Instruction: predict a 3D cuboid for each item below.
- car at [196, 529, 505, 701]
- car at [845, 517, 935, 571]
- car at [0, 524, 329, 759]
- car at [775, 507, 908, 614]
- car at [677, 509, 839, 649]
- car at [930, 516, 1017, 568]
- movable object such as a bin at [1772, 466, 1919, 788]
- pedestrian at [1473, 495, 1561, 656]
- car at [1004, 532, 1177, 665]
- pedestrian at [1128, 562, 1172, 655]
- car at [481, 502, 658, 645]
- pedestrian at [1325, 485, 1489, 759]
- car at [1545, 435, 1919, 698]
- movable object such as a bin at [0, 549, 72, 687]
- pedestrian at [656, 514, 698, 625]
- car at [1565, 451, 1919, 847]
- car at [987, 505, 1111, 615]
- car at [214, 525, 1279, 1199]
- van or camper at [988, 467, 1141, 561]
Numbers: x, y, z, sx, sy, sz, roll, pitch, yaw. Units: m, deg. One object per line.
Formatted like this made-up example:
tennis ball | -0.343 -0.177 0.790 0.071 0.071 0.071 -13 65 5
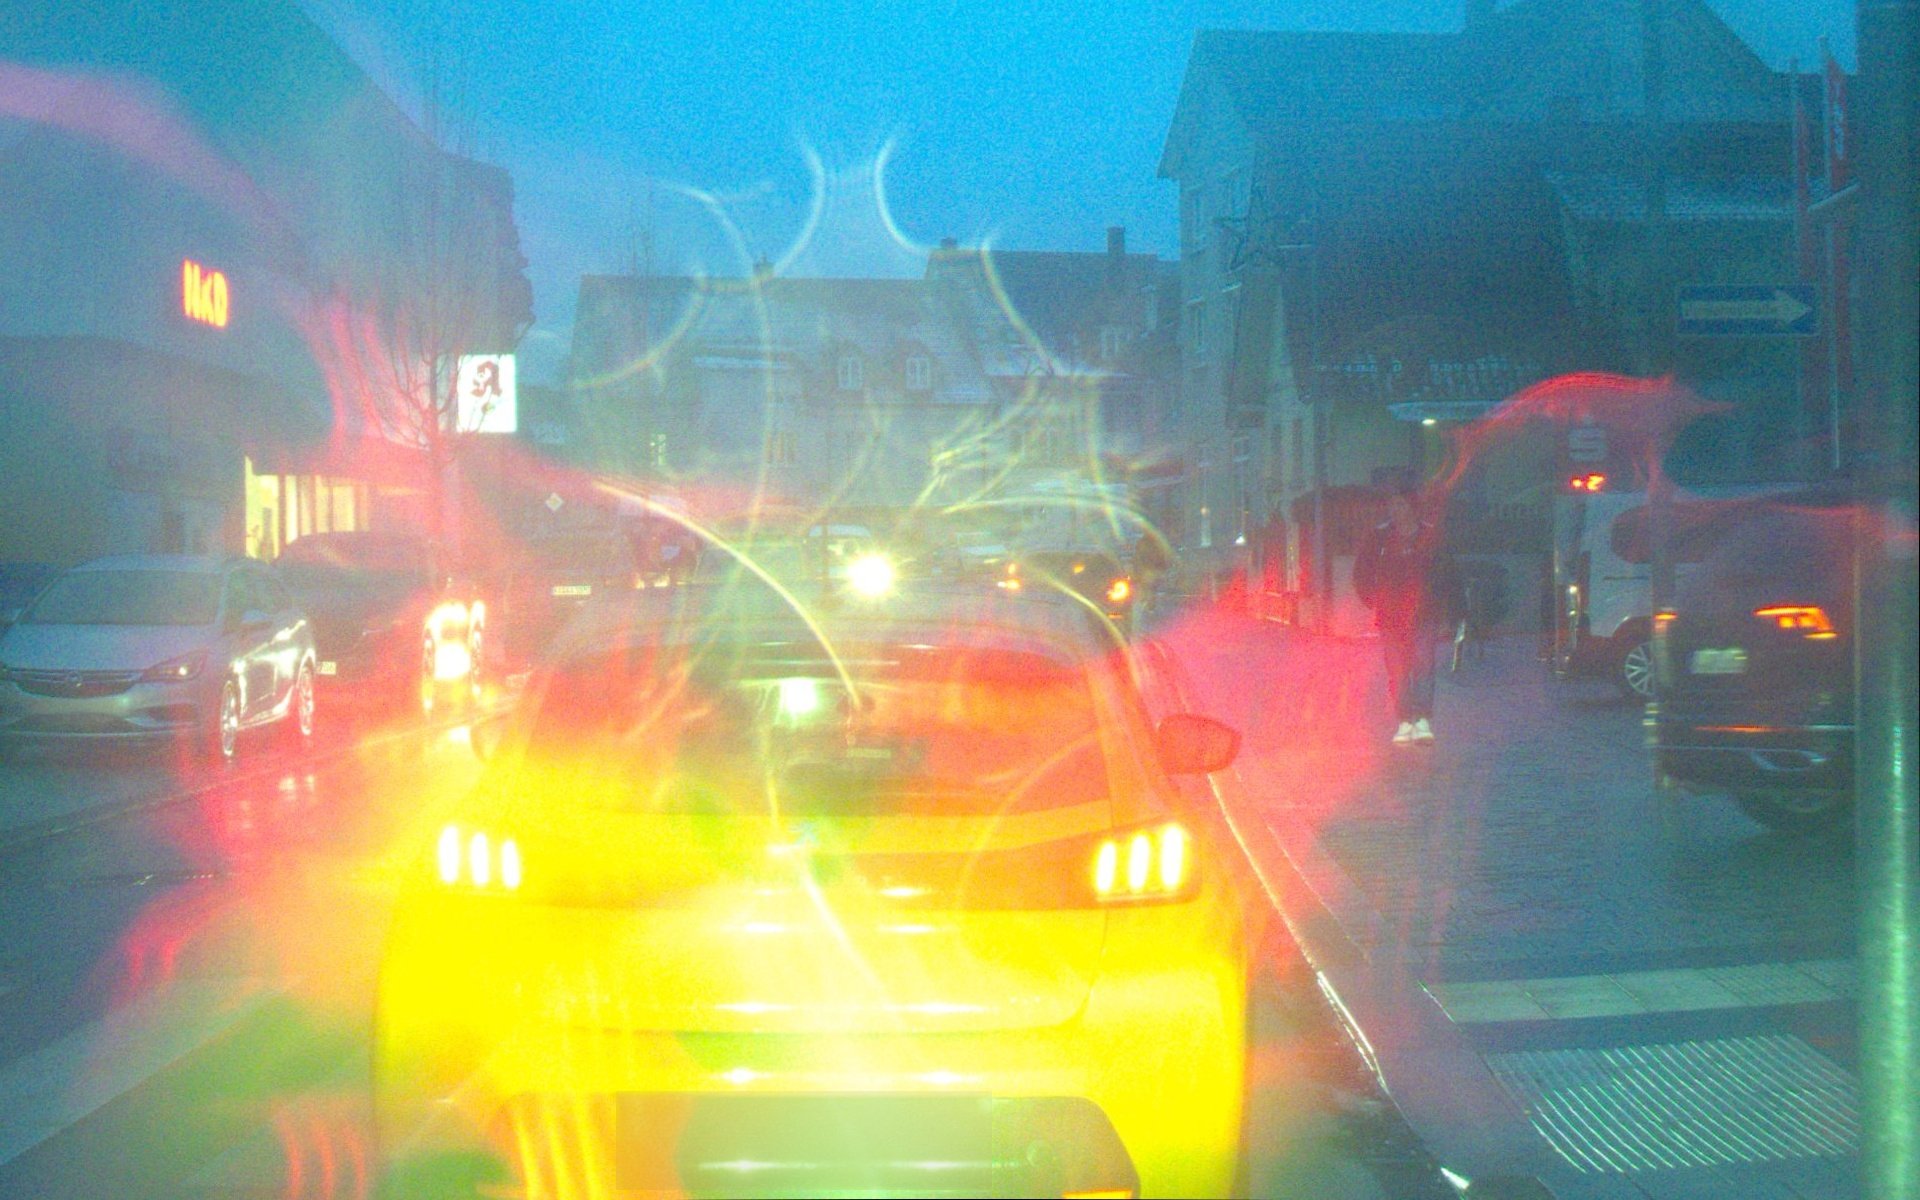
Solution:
car | -5.714 0.096 32.836 1.993 1.517 4.978 0 1 1
car | -2.425 -1.940 117.622 1.993 1.759 4.352 -2 2 -16
car | -6.143 0.231 25.429 1.993 1.552 4.621 1 1 1
car | -2.180 -0.743 62.026 1.951 1.541 4.417 5 3 -6
car | -2.748 -0.343 47.749 1.993 1.700 4.968 2 2 -1
car | 0.439 -1.977 117.936 1.993 1.605 4.175 -2 0 -13
movable object such as a bin | 5.208 0.106 18.285 1.392 1.638 1.262 -2 1 -2
pedestrian | 6.034 -0.270 37.271 0.842 1.699 0.839 -2 1 6
car | 1.620 -0.048 44.020 1.993 1.583 4.000 1 1 -1
pedestrian | 3.611 0.154 65.342 0.745 1.723 0.873 0 2 -2
car | -5.158 -0.399 46.007 2.085 1.786 5.025 0 1 -4
pedestrian | 3.147 0.144 24.282 0.966 1.883 1.006 1 1 -2
car | 7.019 -0.301 28.819 4.092 2.042 1.999 -2 1 9
movable object such as a bin | -9.774 0.201 34.836 1.340 1.349 0.889 -3 1 -8
pedestrian | -4.089 -0.443 49.639 0.574 1.580 0.530 0 2 -2
car | 5.000 0.209 15.491 3.986 1.619 2.000 1 1 -14
car | 1.526 -0.712 60.594 1.993 1.851 4.000 1 1 -1
car | -0.335 0.623 7.913 1.814 1.528 4.000 1 1 1
van or camper | 3.556 -2.951 118.646 2.650 3.037 6.736 -4 2 -22
